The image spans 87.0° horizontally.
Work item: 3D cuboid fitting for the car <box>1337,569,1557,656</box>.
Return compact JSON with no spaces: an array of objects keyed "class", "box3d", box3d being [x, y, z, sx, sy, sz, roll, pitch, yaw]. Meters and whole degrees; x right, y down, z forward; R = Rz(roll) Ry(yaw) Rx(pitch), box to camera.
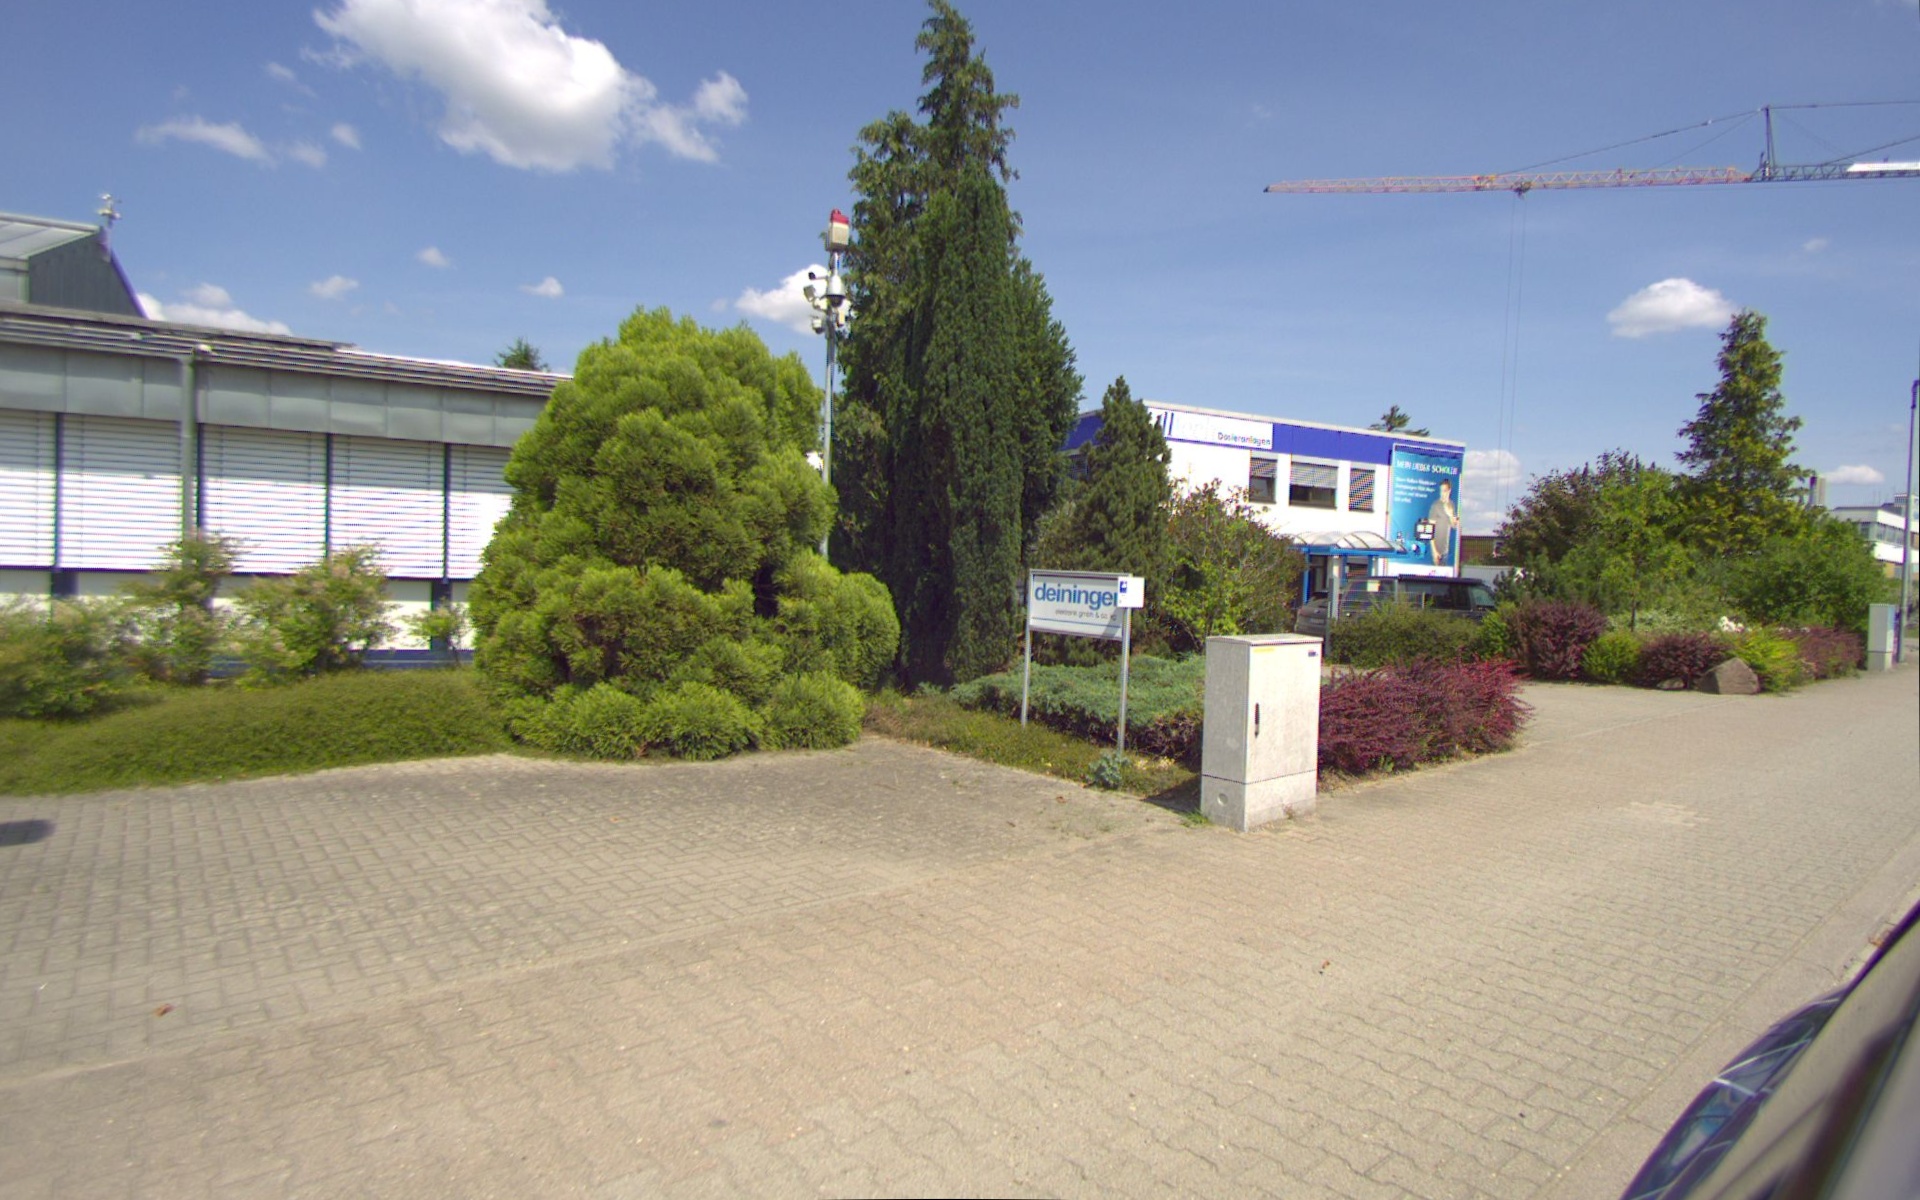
[{"class":"car","box3d":[11.414,0.235,23.718,4.691,1.819,1.909,0,3,-21]}]
